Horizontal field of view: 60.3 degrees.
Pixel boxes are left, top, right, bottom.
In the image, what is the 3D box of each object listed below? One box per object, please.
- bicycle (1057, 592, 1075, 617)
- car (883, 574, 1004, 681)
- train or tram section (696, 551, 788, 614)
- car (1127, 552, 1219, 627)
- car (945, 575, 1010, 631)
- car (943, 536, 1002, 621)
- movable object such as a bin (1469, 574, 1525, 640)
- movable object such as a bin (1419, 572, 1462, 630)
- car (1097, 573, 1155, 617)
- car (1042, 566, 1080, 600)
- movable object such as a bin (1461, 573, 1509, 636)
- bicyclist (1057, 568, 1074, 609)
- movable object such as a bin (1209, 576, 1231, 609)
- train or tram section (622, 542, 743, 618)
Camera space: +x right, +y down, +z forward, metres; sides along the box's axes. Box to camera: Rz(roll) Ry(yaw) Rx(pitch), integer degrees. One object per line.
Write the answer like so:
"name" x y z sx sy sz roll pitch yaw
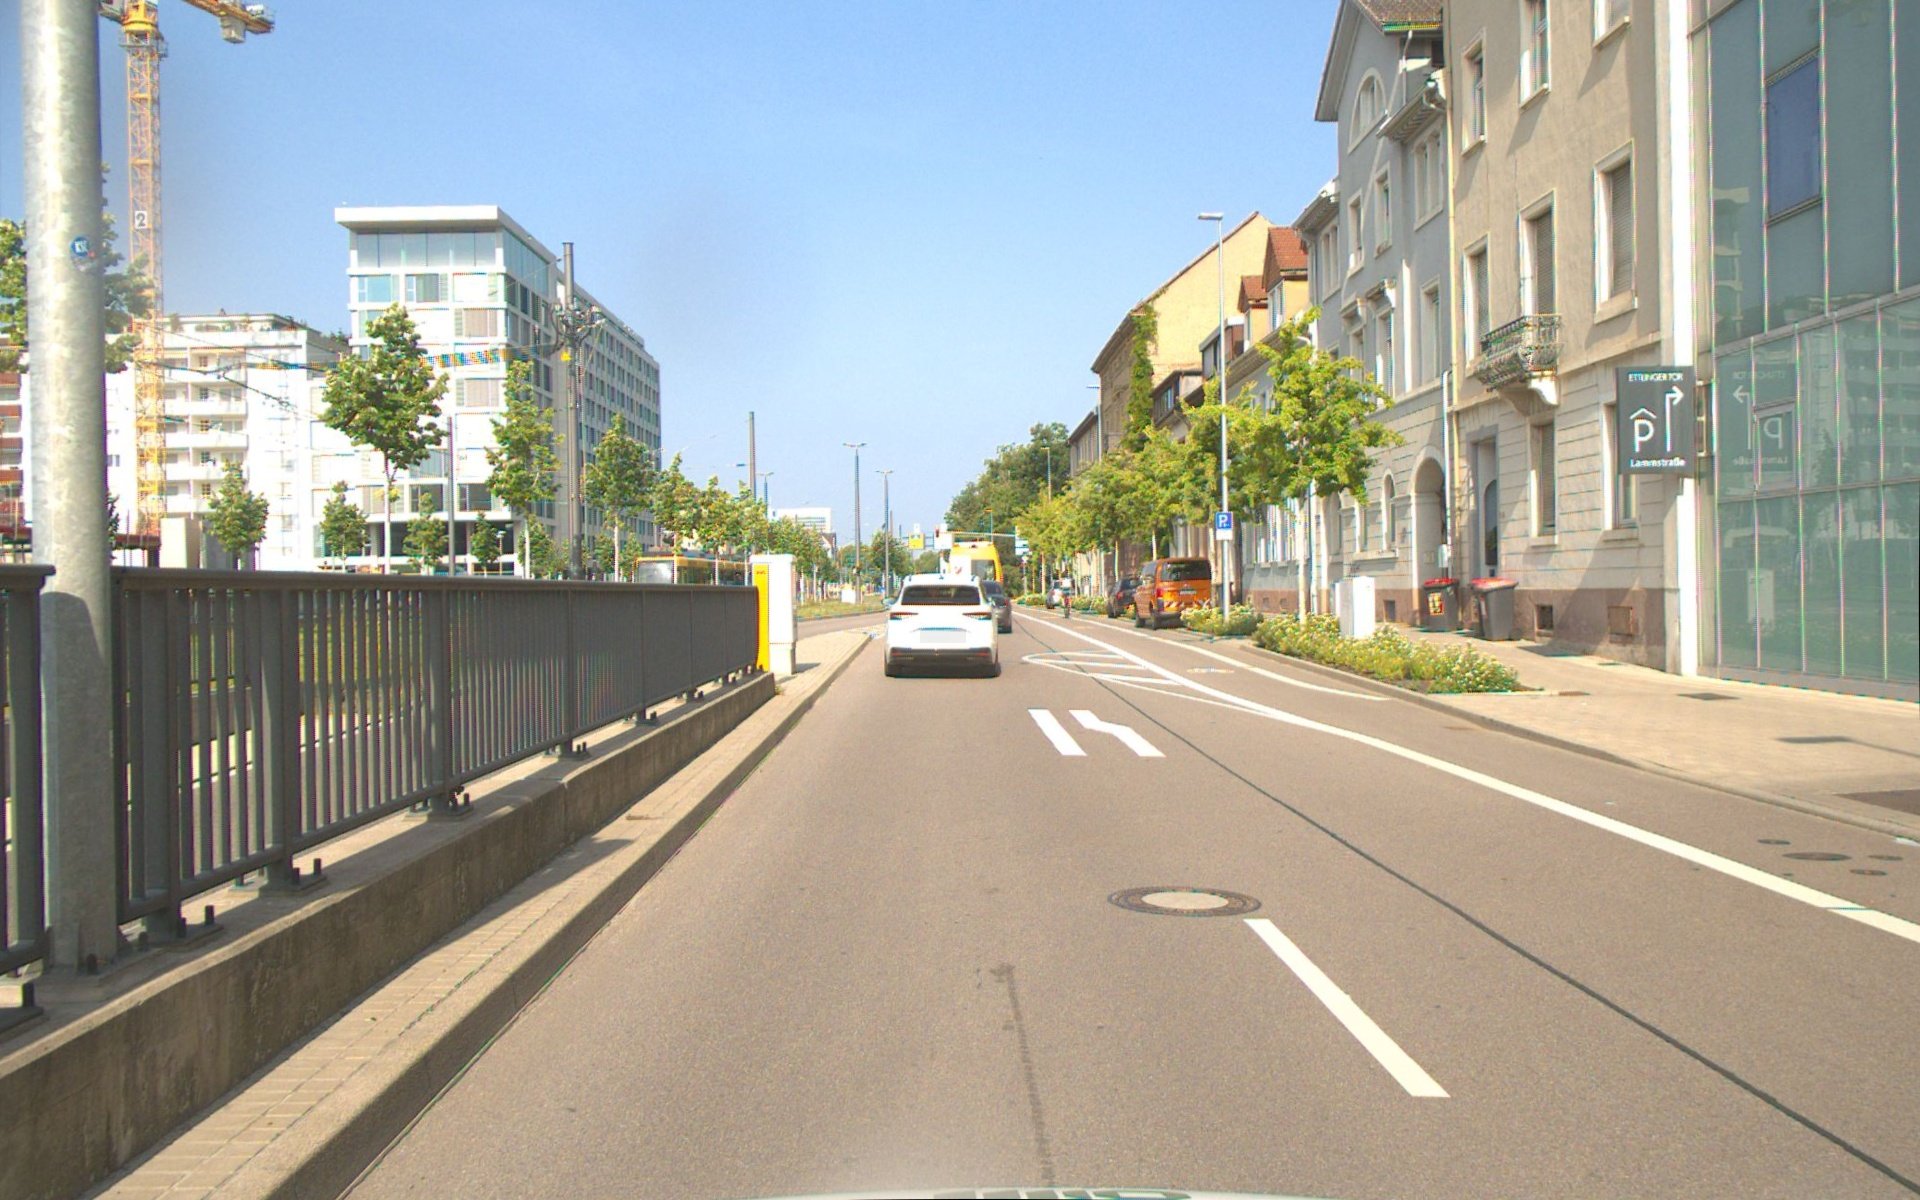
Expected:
"bicycle" 4.166 0.161 65.230 0.642 0.955 1.517 -1 1 2
"car" -0.260 0.388 27.247 1.831 1.602 4.000 -1 1 0
"train or tram section" -14.130 -1.099 109.041 2.845 3.772 18.296 1 0 2
"car" 6.222 -0.345 48.750 2.021 2.048 4.588 -1 1 -1
"car" 0.458 0.048 45.901 1.724 1.461 4.115 1 1 0
"car" 0.408 -0.834 59.007 1.979 2.844 5.402 -1 3 0
"movable object such as a bin" 10.021 0.125 30.892 0.765 1.192 0.808 -1 2 -1
"movable object such as a bin" 9.973 0.015 34.312 0.666 1.172 0.607 -3 3 -45
"car" 6.159 -0.179 61.718 1.639 1.509 4.311 -3 0 -1
"car" 5.596 -0.945 92.070 1.775 1.844 3.835 -1 1 -1
"movable object such as a bin" 10.108 0.089 31.863 0.690 1.172 0.671 -1 2 -1
"bicyclist" 4.159 -0.441 65.171 0.626 1.604 0.771 -1 0 2
"movable object such as a bin" 9.660 -0.293 61.516 0.665 1.221 0.781 -1 1 -2
"train or tram section" -14.919 -1.032 90.873 2.845 3.740 18.143 1 0 2
